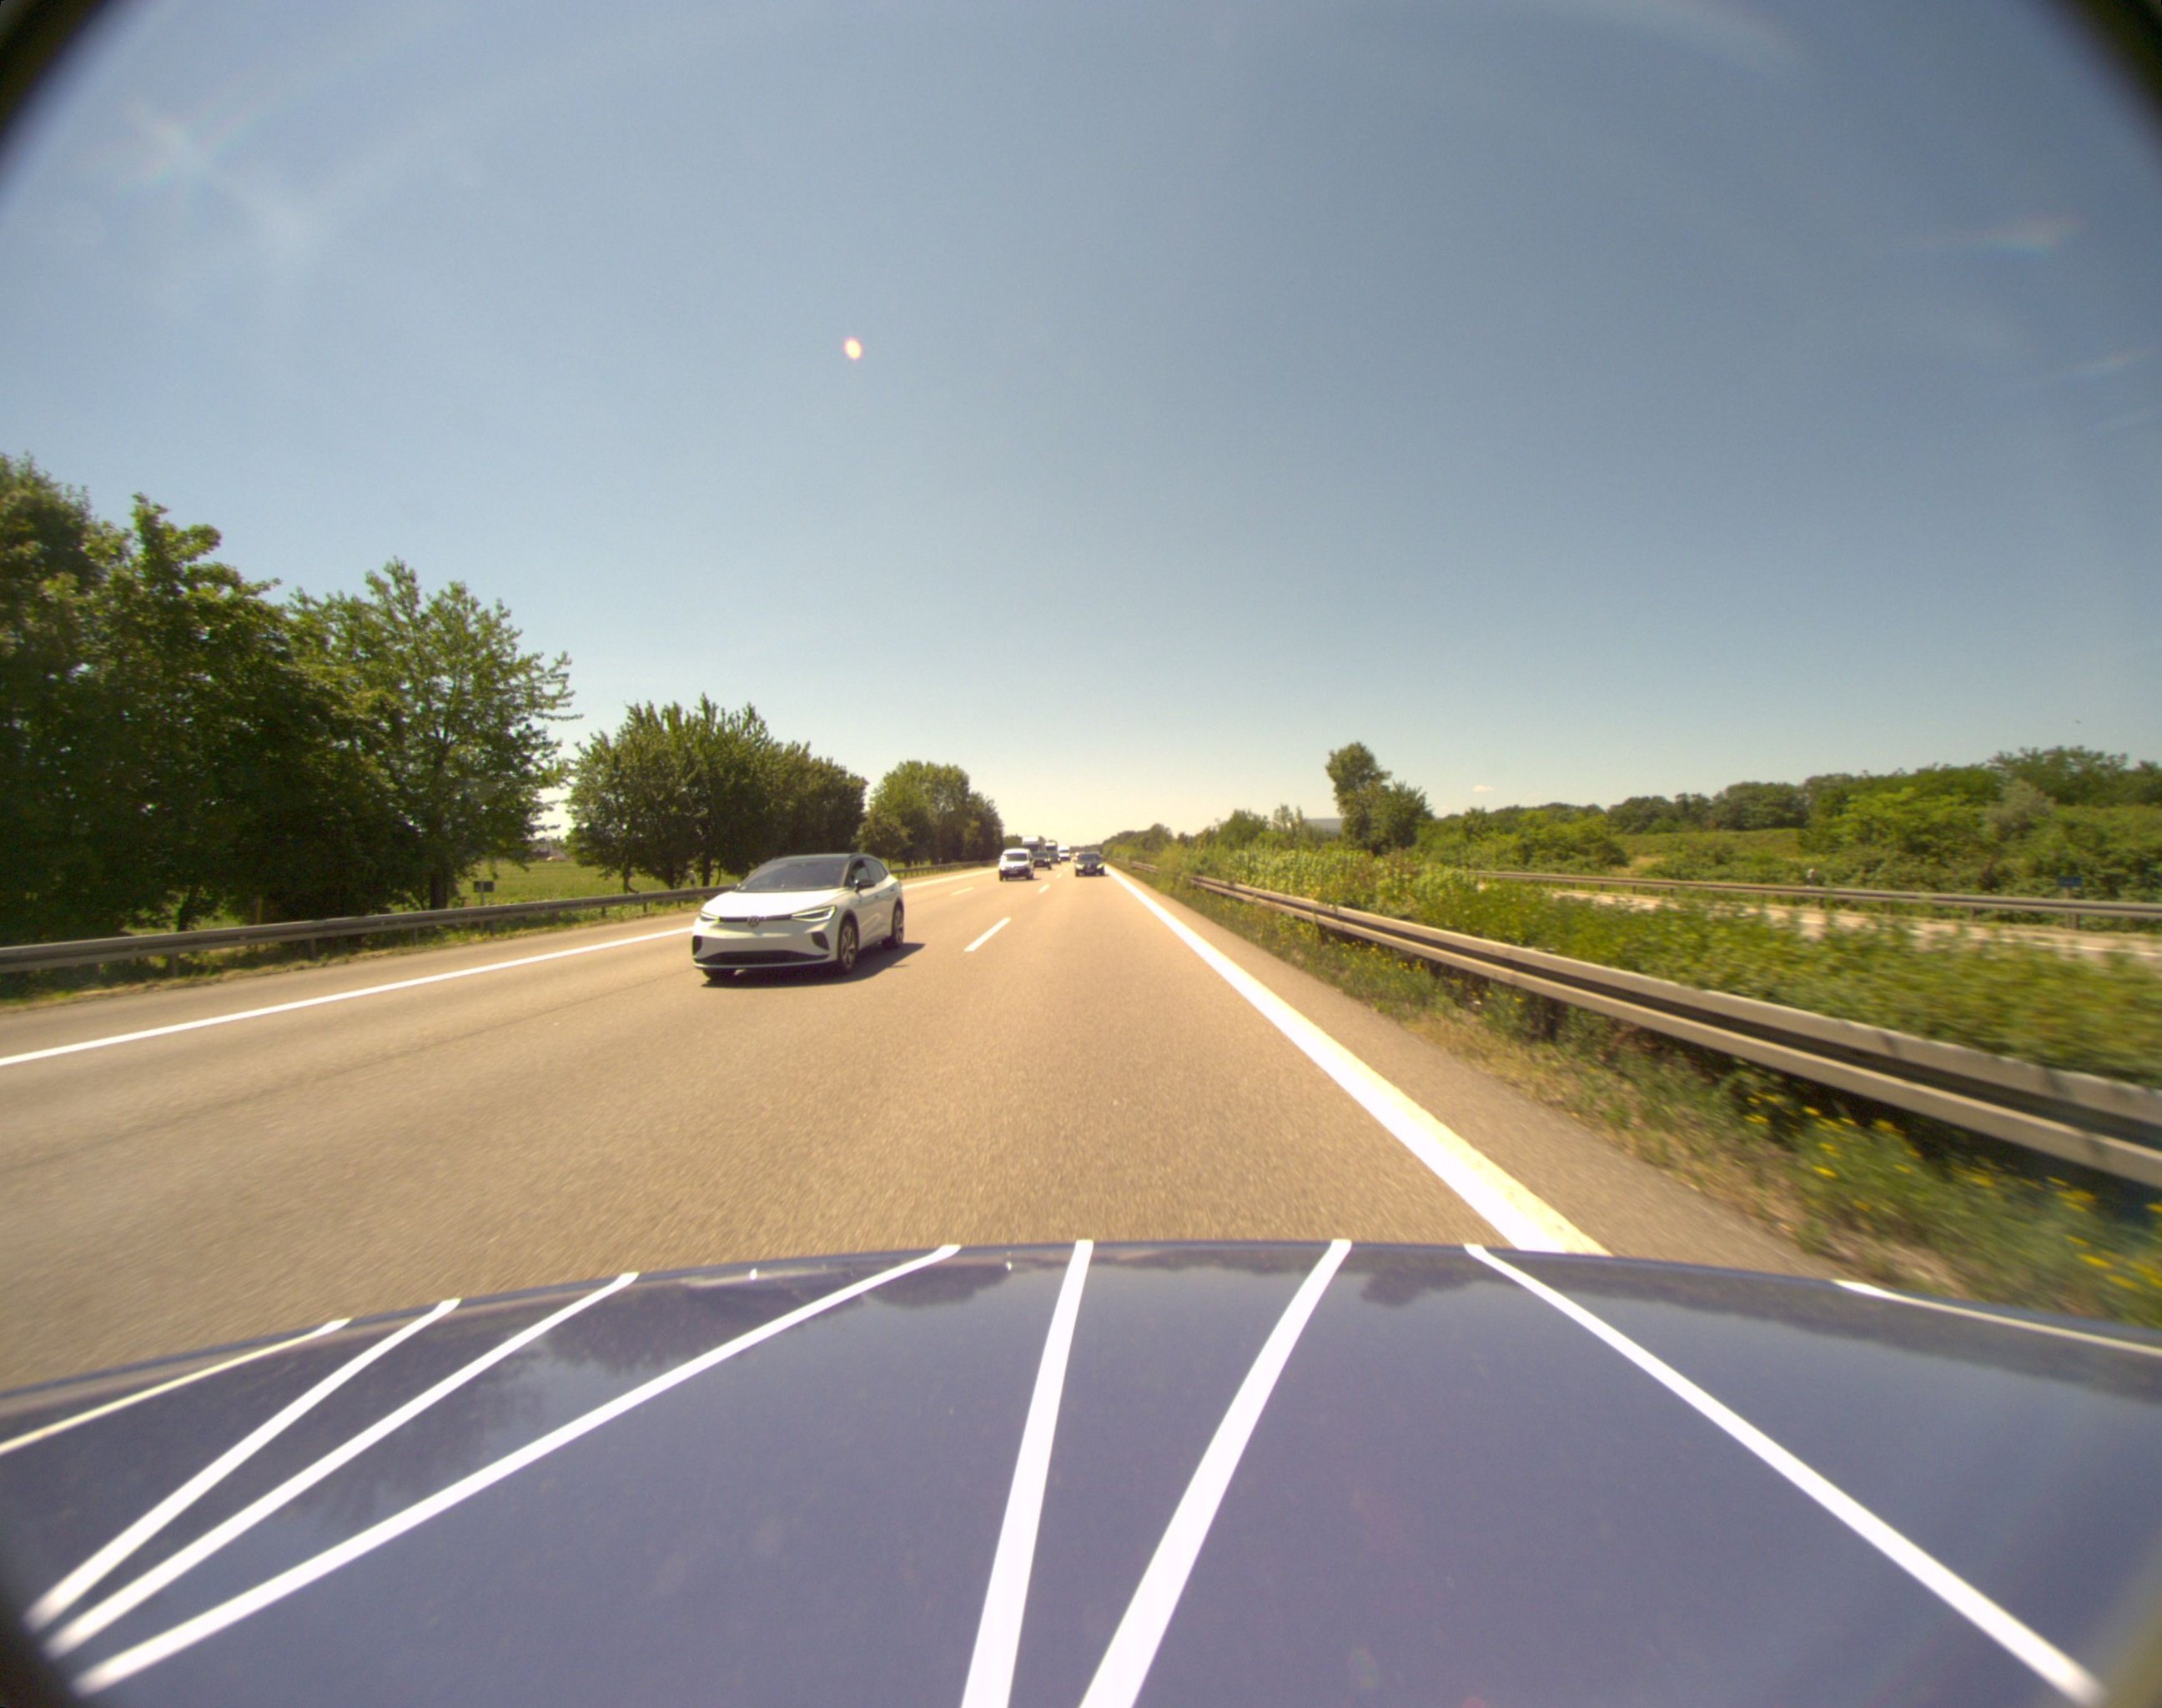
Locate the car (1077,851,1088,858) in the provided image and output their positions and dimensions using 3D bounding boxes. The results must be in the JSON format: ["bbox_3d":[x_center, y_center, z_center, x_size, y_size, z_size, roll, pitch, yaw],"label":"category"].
[{"bbox_3d":[0.355,0.108,160.460,1.755,1.365,3.710,-2,0,6],"label":"car"}]

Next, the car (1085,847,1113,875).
[{"bbox_3d":[1.121,0.439,47.942,1.690,1.646,3.462,-2,0,1],"label":"car"}]

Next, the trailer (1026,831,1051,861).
[{"bbox_3d":[-6.539,-1.162,118.650,2.817,4.279,14.253,-2,0,1],"label":"trailer"}]

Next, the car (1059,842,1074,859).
[{"bbox_3d":[-2.332,-0.572,122.271,2.159,2.494,5.945,-2,0,-1],"label":"car"}]

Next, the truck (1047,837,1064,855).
[{"bbox_3d":[-5.857,-1.776,174.629,2.698,3.943,7.706,-2,0,6],"label":"truck"}]

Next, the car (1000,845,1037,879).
[{"bbox_3d":[-3.652,0.449,44.900,1.858,1.852,4.701,-2,0,-1],"label":"car"}]

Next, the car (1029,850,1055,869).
[{"bbox_3d":[-3.522,0.475,69.532,1.871,1.665,4.746,-2,0,2],"label":"car"}]

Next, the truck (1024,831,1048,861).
[{"bbox_3d":[-6.634,-1.153,112.329,2.817,4.279,7.193,-2,0,1],"label":"truck"}]

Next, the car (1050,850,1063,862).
[{"bbox_3d":[-3.122,0.290,96.887,1.692,1.465,3.432,-2,0,-2],"label":"car"}]

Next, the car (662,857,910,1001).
[{"bbox_3d":[-3.962,0.900,11.140,1.807,1.593,4.380,-2,0,1],"label":"car"}]
